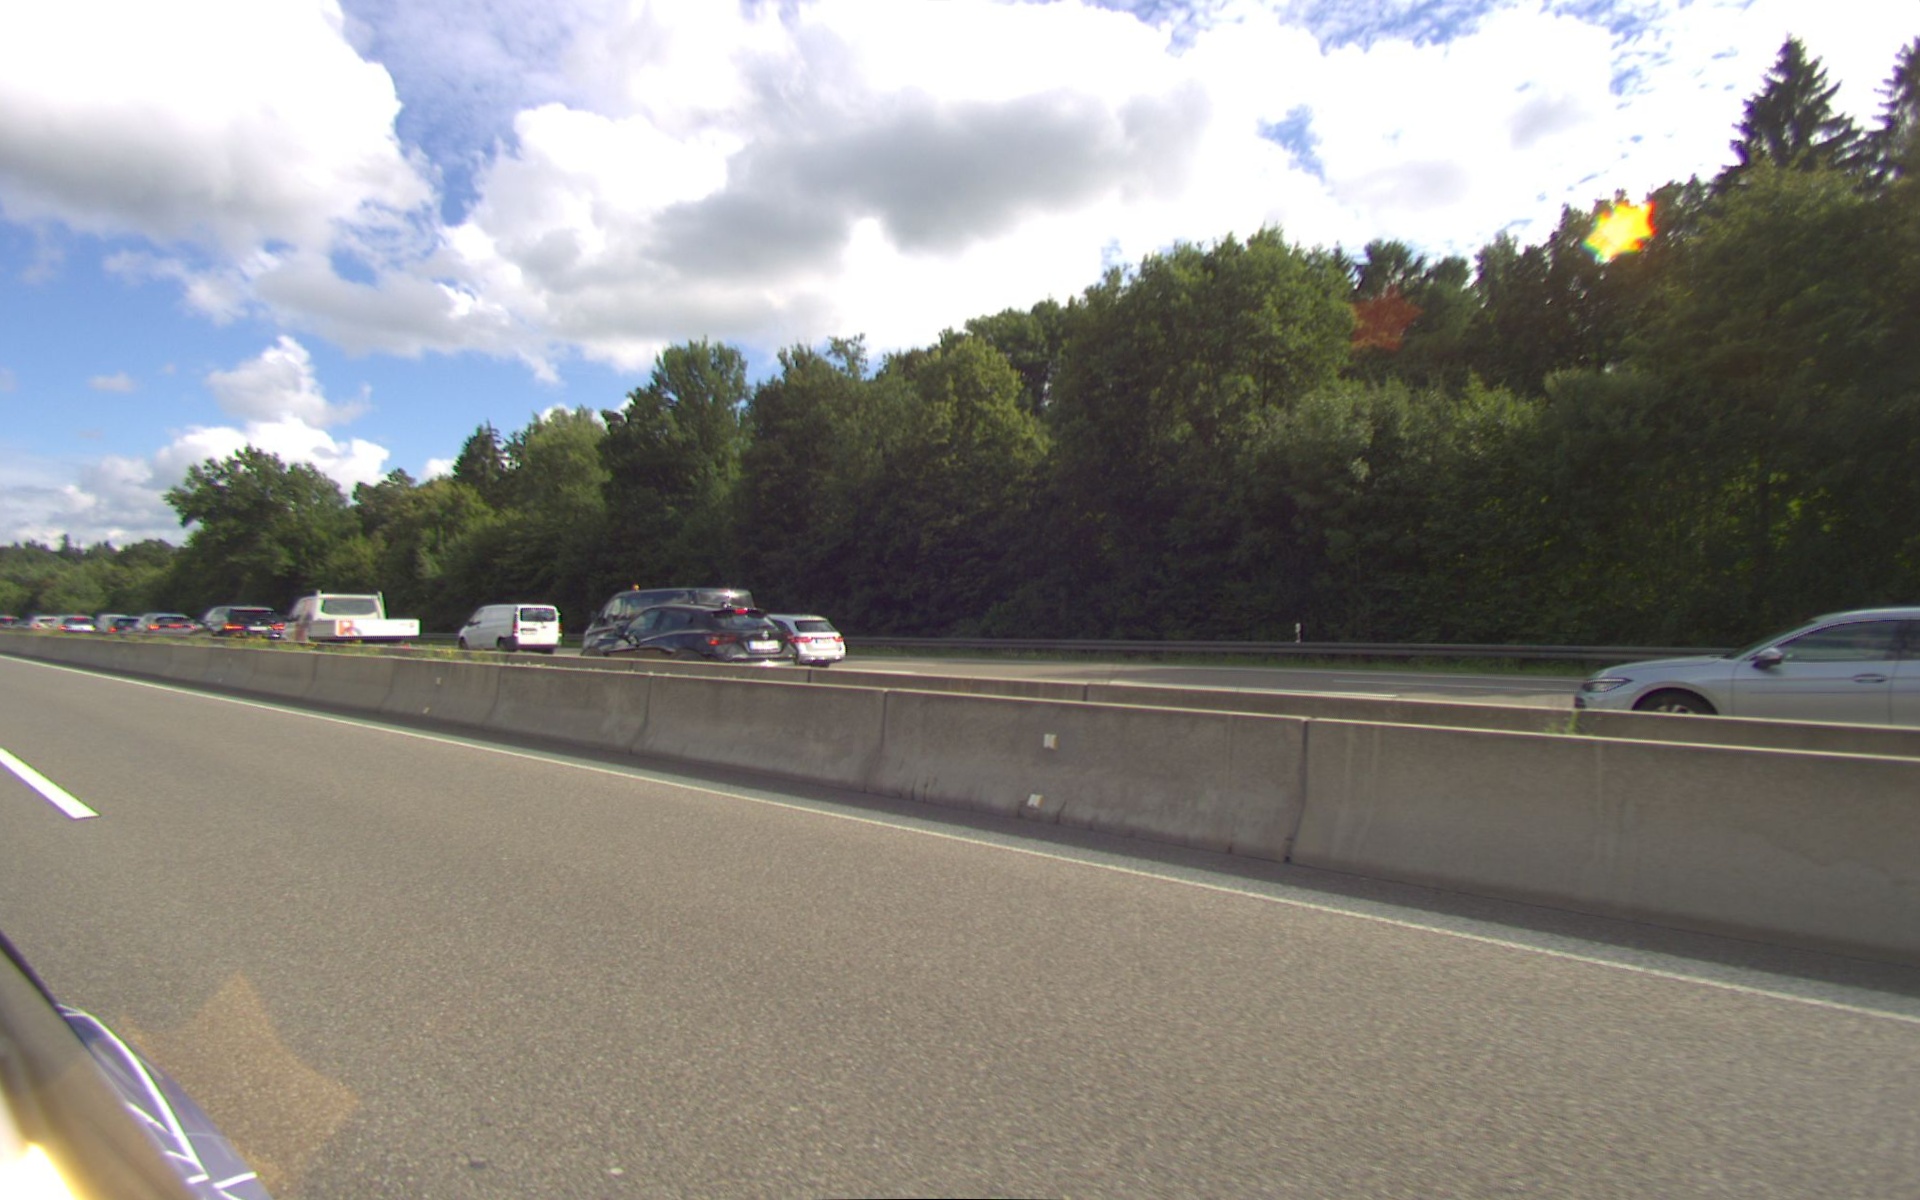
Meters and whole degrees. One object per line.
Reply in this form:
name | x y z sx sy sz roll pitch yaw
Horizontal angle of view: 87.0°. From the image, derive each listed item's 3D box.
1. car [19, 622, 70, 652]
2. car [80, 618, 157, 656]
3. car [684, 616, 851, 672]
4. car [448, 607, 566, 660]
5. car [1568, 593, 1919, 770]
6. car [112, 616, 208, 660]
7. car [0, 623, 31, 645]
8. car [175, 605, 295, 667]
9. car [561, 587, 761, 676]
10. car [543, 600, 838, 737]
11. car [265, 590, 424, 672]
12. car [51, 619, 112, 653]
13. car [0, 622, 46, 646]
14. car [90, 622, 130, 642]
car | -50.752 2.014 56.087 3.998 1.630 1.644 -1 -2 41
car | -38.034 1.646 45.701 4.548 1.630 1.973 -1 -2 41
car | -5.067 1.110 26.291 4.548 1.312 1.845 -1 -2 41
car | -16.915 1.245 37.637 5.339 1.866 1.929 -2 -3 41
car | 8.746 0.708 9.329 5.129 1.496 1.973 -1 -2 41
car | -31.436 1.451 39.730 4.548 1.630 2.148 -1 -2 41
car | -69.733 2.480 74.406 3.998 1.564 1.621 -1 -2 41
car | -24.886 1.205 34.672 5.393 1.962 2.148 -1 -2 41
car | -6.902 0.696 23.064 5.123 1.819 1.973 -1 -2 41
car | -4.342 0.973 15.887 4.874 1.815 2.148 -1 -2 41
car | -17.108 0.849 27.978 5.820 2.029 2.136 -1 -2 42
car | -44.509 1.799 51.243 4.548 1.630 1.724 -1 -2 41
car | -63.248 2.296 68.175 3.998 1.564 1.973 -1 -2 41
car | -71.221 2.654 84.817 3.998 1.630 1.963 -1 -2 41
